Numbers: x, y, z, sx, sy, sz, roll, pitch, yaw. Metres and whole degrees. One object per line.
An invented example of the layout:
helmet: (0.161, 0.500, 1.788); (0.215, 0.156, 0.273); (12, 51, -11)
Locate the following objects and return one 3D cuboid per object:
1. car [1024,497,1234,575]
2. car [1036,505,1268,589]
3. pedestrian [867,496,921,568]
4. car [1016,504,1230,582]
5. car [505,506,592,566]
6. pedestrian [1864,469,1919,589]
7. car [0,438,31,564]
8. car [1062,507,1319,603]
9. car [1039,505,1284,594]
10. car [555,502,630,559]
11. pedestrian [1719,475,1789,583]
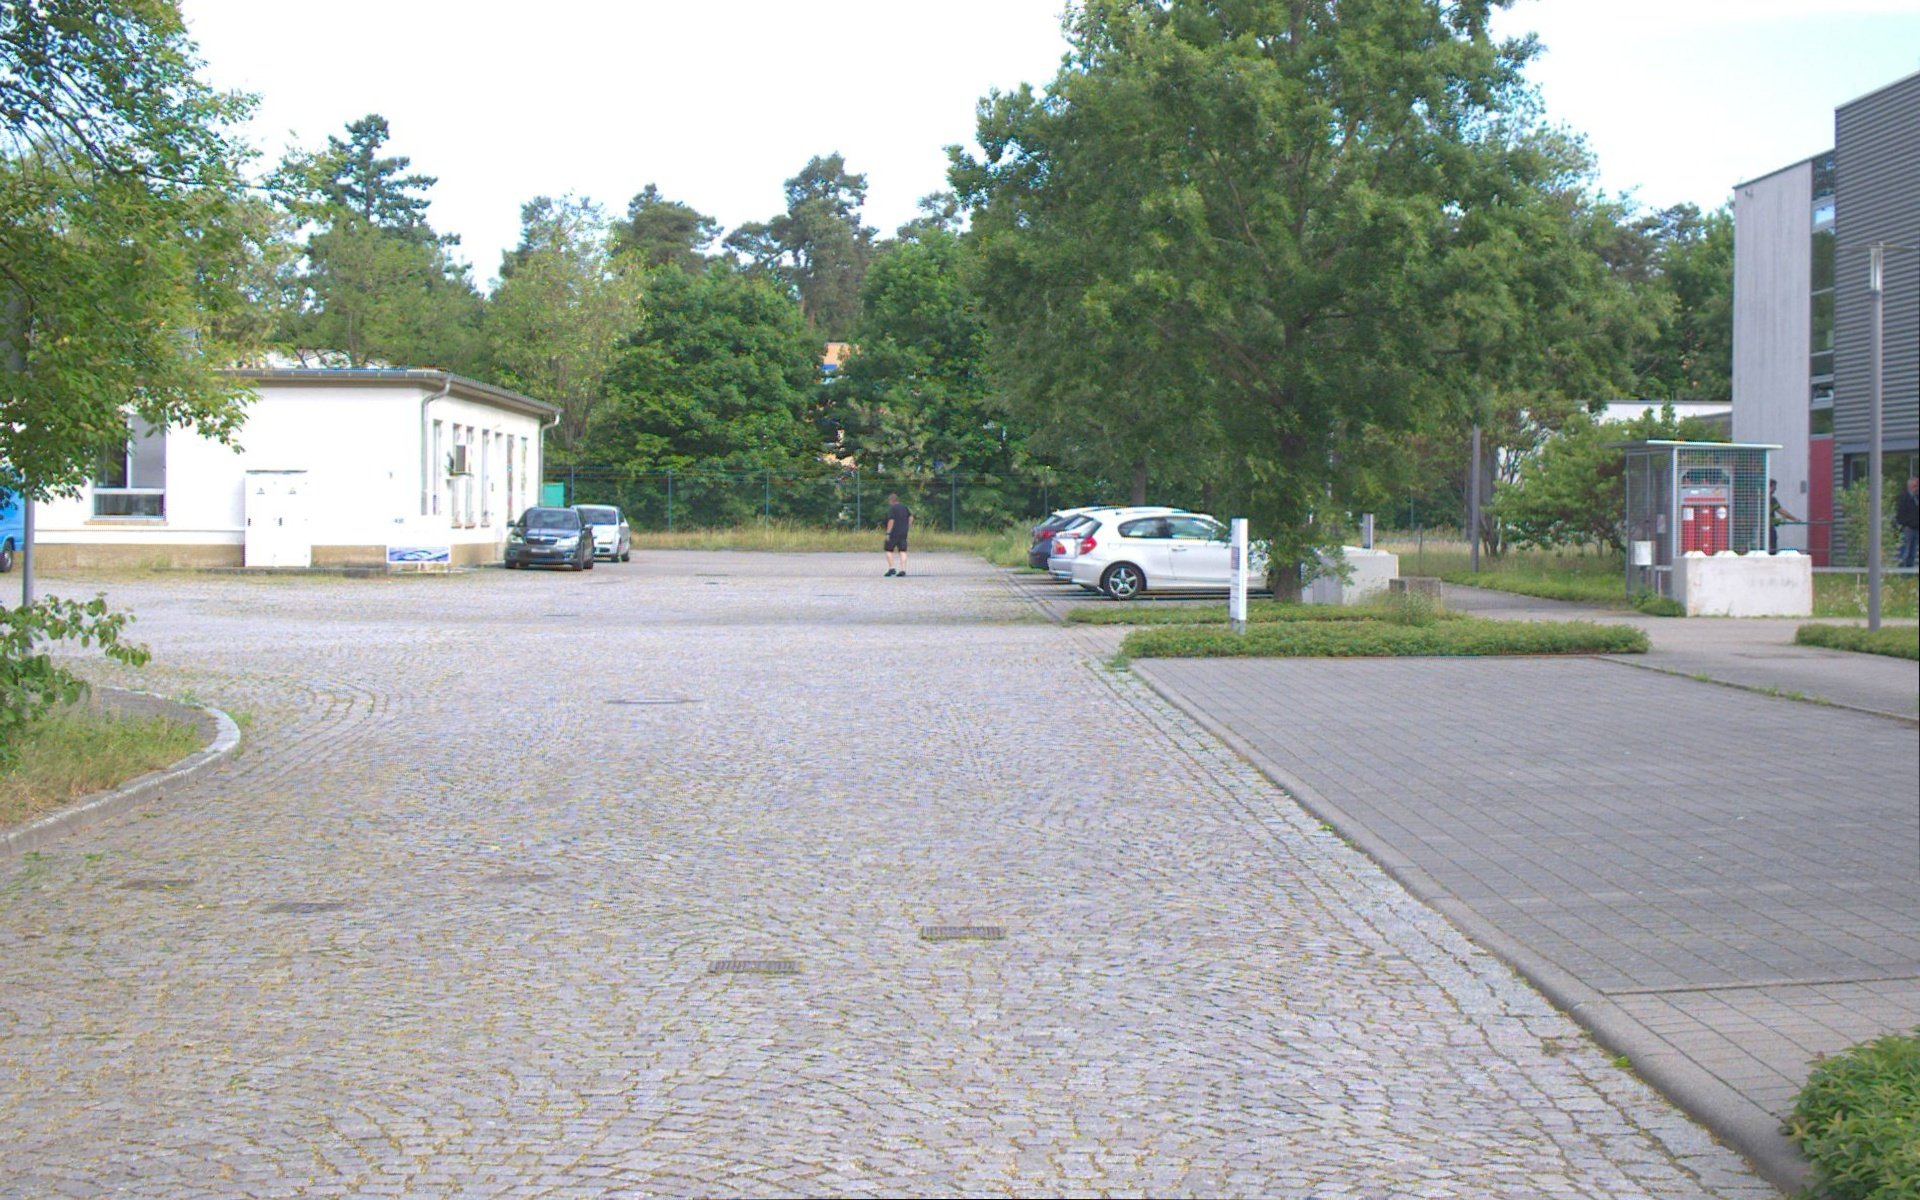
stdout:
car: (3.362, -1.297, 68.990); (3.986, 1.528, 2.000); (0, 1, -4)
car: (3.361, -0.953, 60.875); (3.987, 1.450, 1.770); (0, 1, 0)
pedestrian: (-1.442, -1.479, 75.064); (0.939, 1.563, 0.971); (0, 1, -18)
car: (3.093, -1.091, 65.775); (3.987, 1.450, 1.770); (0, 1, 0)
car: (-9.497, -1.495, 79.511); (1.748, 1.359, 4.001); (0, 1, -3)
pedestrian: (15.444, -1.161, 56.186); (0.917, 1.930, 0.855); (0, 1, -31)
car: (-20.173, -1.957, 67.802); (1.994, 2.514, 5.618); (0, 1, 2)
car: (3.692, -0.728, 55.671); (3.987, 1.450, 2.000); (1, 1, 0)
car: (3.359, -0.859, 57.836); (3.987, 1.450, 1.697); (0, 1, 0)
car: (-9.563, -1.823, 89.739); (1.748, 1.449, 4.001); (0, 1, -3)
pedestrian: (14.868, -1.334, 64.422); (0.920, 2.007, 1.147); (0, 1, -7)
